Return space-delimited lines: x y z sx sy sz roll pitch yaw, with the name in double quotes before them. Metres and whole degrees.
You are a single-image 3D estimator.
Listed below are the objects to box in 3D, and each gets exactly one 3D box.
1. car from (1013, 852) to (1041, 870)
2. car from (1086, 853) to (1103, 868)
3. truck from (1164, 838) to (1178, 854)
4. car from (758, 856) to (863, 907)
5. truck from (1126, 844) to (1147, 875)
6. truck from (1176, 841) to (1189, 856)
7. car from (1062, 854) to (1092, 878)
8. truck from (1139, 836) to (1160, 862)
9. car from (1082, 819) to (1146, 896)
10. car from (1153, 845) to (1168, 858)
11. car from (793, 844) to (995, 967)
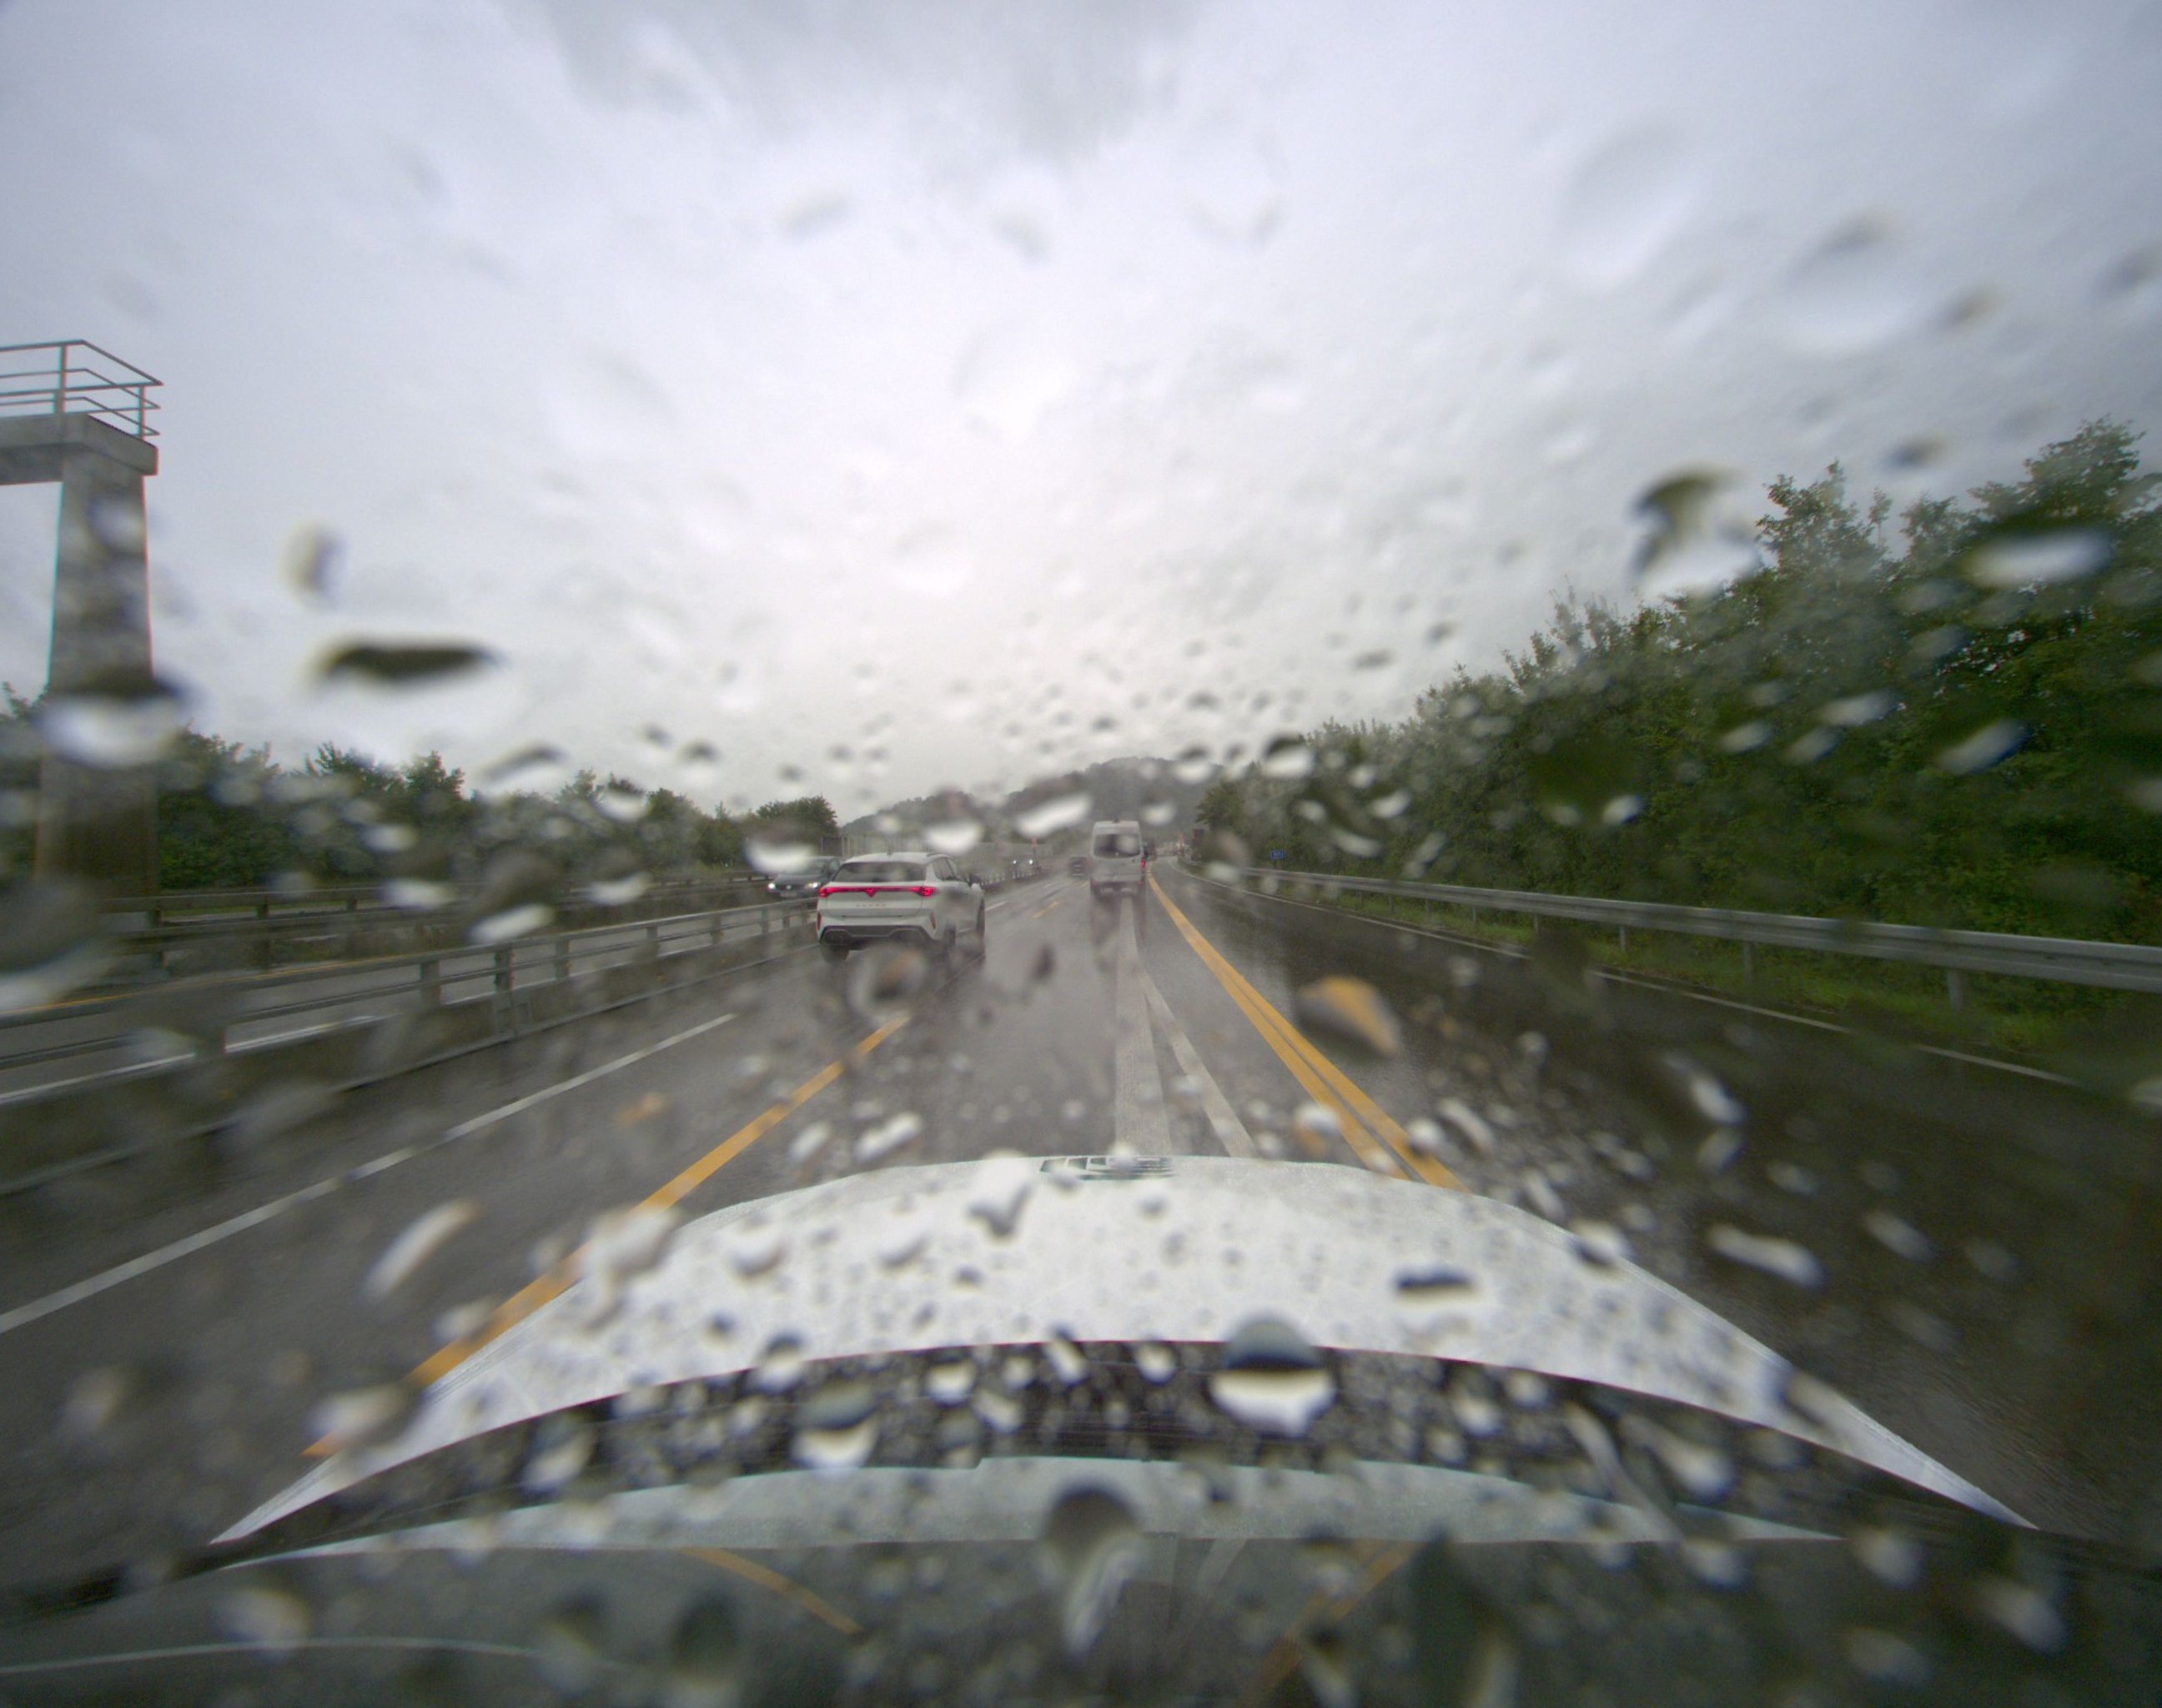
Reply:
"car" -4.777 0.620 72.153 1.769 1.604 4.324 0 0 6
"car" 1.492 0.678 87.359 1.699 1.627 4.003 0 0 3
"truck" 25.156 -2.085 227.242 3.017 4.406 9.652 0 0 11
"car" -8.502 0.811 26.032 1.840 1.502 4.132 0 0 2
"truck" 5.864 0.594 85.450 1.984 3.109 8.511 0 0 5
"truck" 32.293 -1.718 258.987 2.878 4.406 9.658 0 0 13
"car" -0.253 0.795 55.488 1.940 1.561 4.001 0 0 1
"truck" 12.076 -0.904 143.376 3.565 4.406 9.635 0 0 4
"car" 1.242 0.118 30.013 2.136 2.571 5.393 0 0 3
"car" 18.689 -0.565 190.690 2.880 2.887 6.430 0 0 11
"car" -2.721 0.683 13.124 1.986 1.617 4.798 0 0 2
